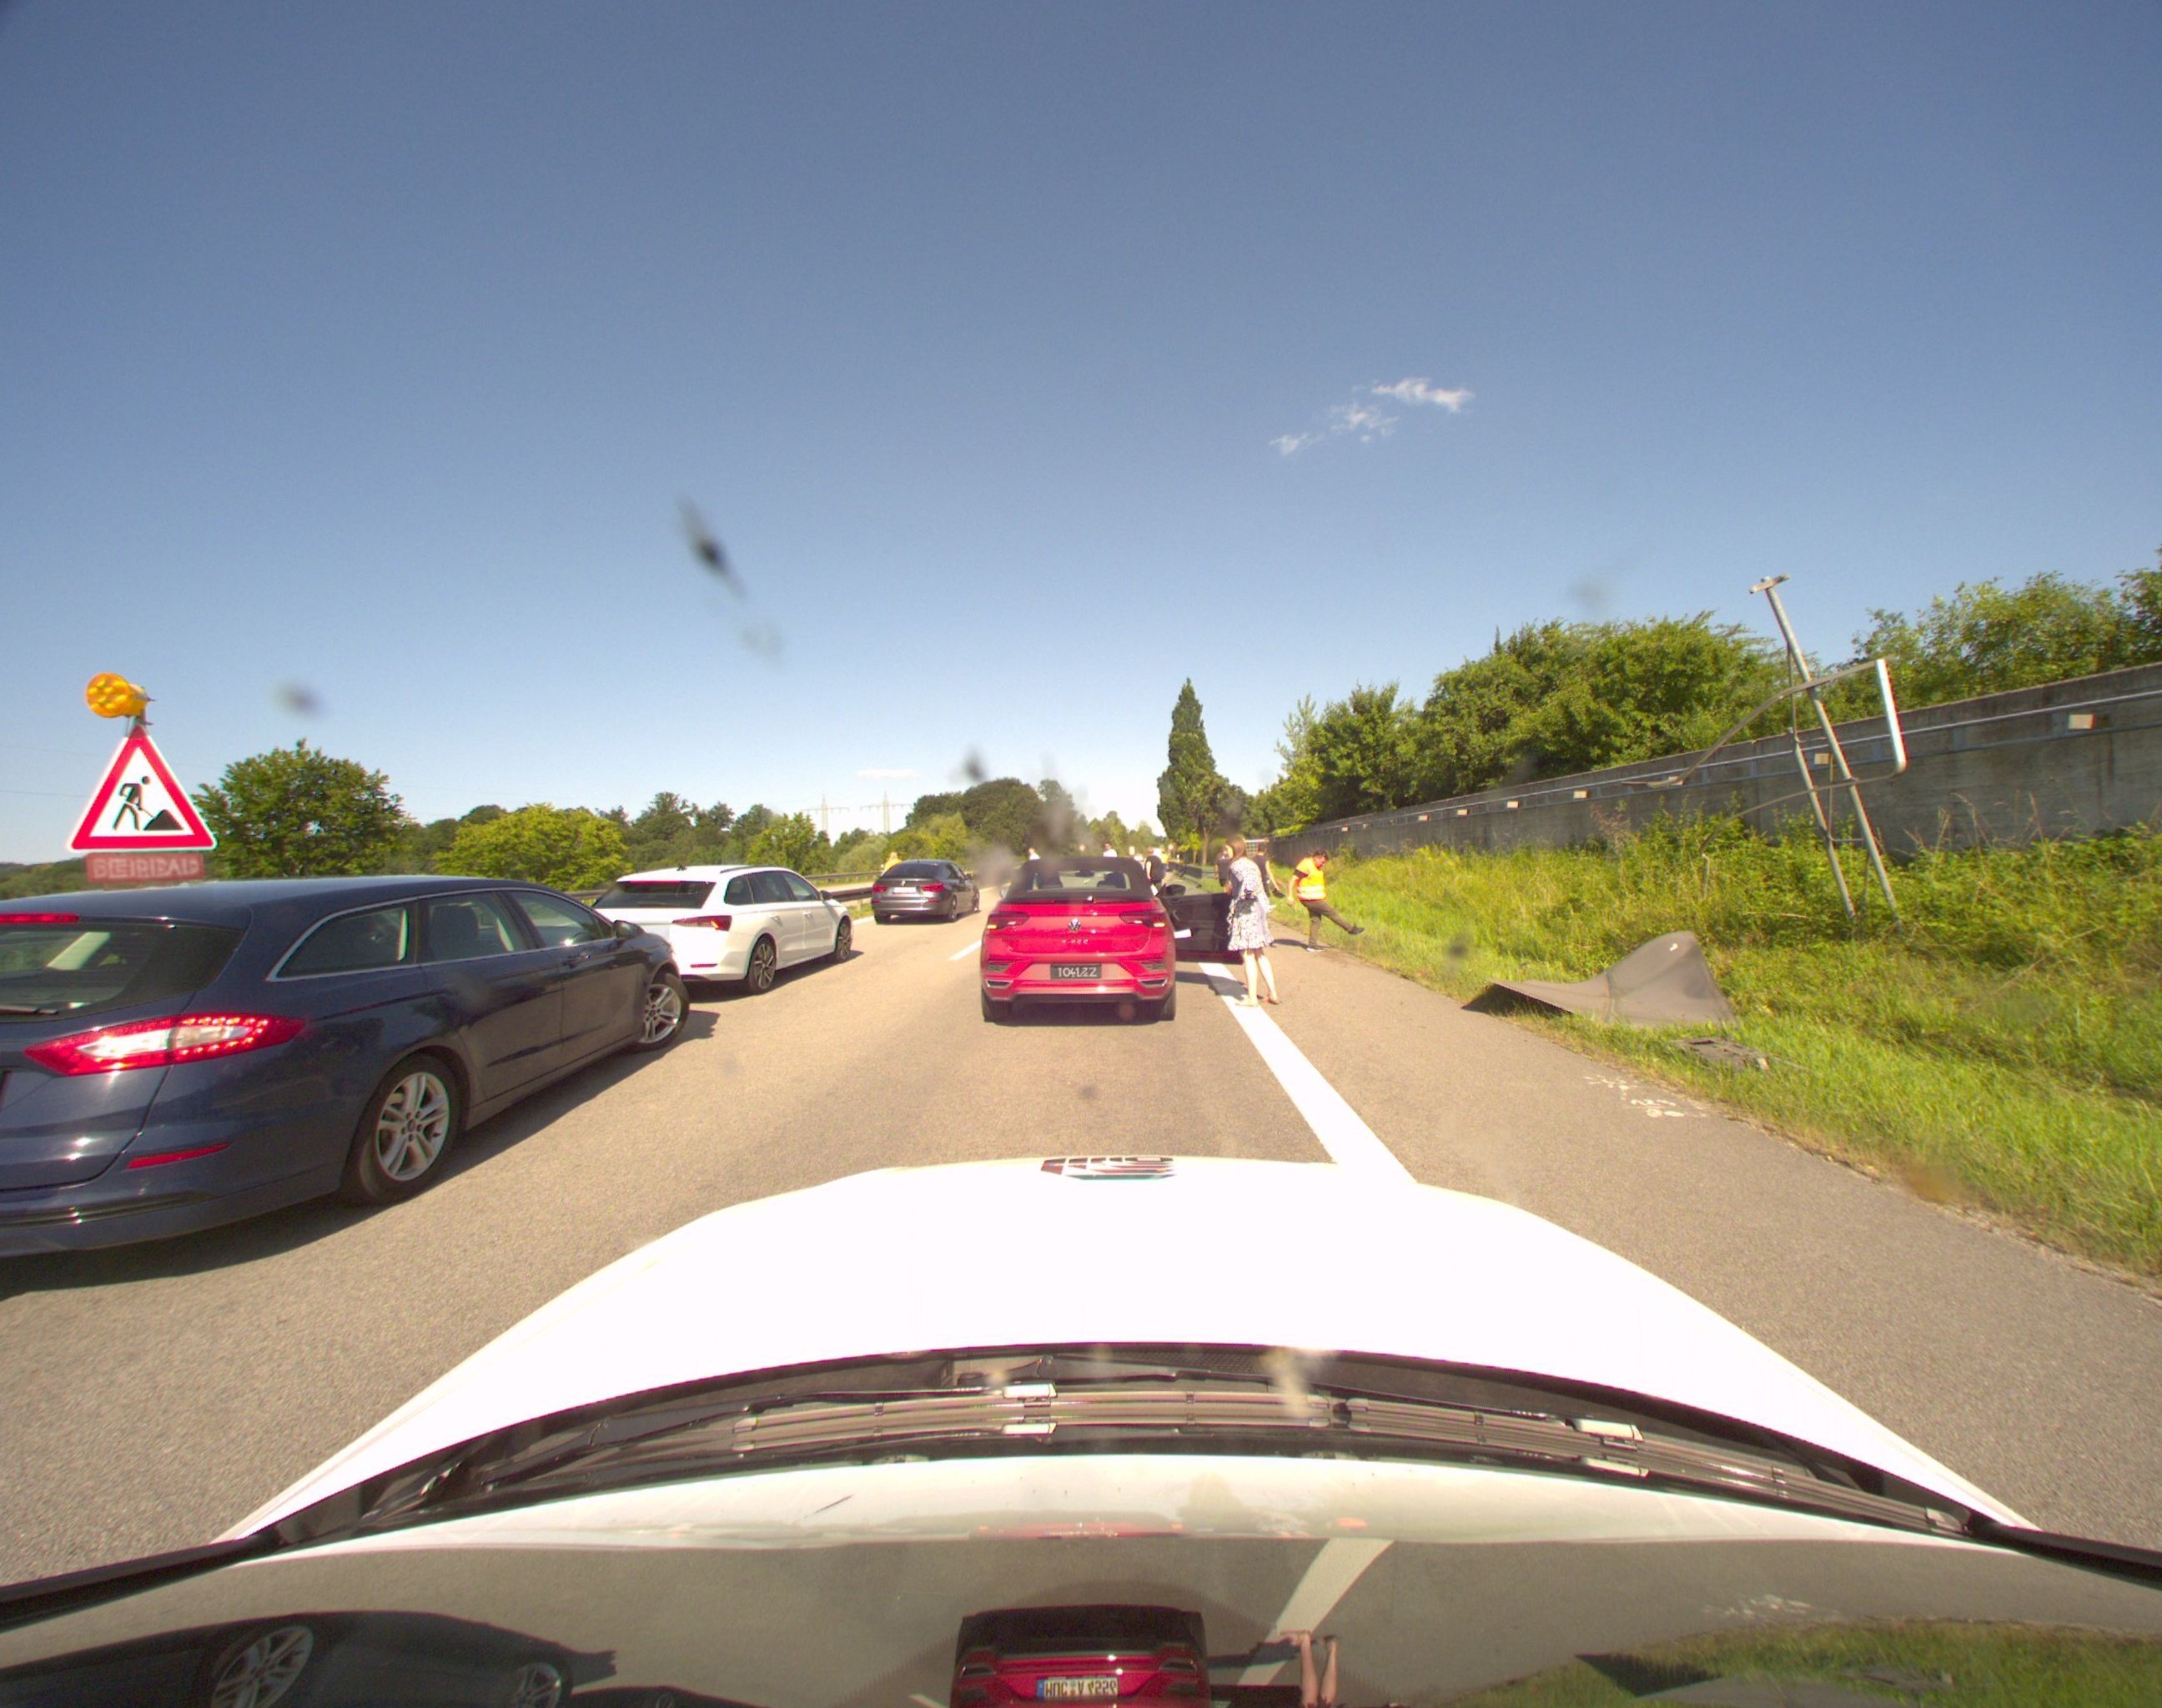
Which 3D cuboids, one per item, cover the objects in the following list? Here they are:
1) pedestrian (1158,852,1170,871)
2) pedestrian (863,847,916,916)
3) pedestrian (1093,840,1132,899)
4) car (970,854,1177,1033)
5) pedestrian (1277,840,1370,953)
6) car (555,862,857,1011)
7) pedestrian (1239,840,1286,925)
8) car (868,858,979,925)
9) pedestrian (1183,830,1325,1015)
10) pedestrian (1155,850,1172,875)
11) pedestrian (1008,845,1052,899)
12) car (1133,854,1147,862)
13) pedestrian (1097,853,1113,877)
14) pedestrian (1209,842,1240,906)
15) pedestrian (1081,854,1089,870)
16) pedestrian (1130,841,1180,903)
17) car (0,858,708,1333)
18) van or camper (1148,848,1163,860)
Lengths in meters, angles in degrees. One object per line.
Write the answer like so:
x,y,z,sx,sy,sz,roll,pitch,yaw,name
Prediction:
7.265,0.652,71.315,0.991,1.689,1.012,-1,-1,6,pedestrian
-5.161,0.725,21.994,1.036,1.763,1.120,-2,0,5,pedestrian
1.051,0.526,27.711,1.104,1.912,1.255,-2,0,-5,pedestrian
0.033,0.752,8.939,1.725,1.487,4.213,-1,0,3,car
3.721,0.632,12.550,1.264,1.653,0.965,-2,0,16,pedestrian
-4.344,0.854,10.280,1.688,1.441,4.213,-1,0,3,car
3.782,0.587,17.038,0.890,1.725,0.756,-1,-1,7,pedestrian
-3.736,0.845,20.065,1.688,1.426,4.337,-1,0,3,car
1.707,0.634,8.203,0.893,1.695,1.121,-2,0,-20,pedestrian
5.719,0.579,56.343,1.049,1.689,1.020,-1,-1,9,pedestrian
-1.737,0.603,27.758,1.095,1.789,1.096,0,-1,-32,pedestrian
11.761,0.835,162.004,1.718,1.487,4.231,-1,0,19,car
1.757,0.785,59.495,0.970,1.689,1.113,0,-1,-11,pedestrian
4.017,0.560,22.797,0.806,1.759,0.831,-1,-1,12,pedestrian
0.417,0.818,85.505,0.787,1.689,0.794,-1,-1,7,pedestrian
2.322,0.561,25.589,1.096,1.883,1.059,-2,0,-27,pedestrian
-3.970,0.817,4.805,1.785,1.493,4.484,-2,-1,-6,car
14.760,-0.052,160.839,1.977,2.316,4.491,-1,-1,19,van or camper
